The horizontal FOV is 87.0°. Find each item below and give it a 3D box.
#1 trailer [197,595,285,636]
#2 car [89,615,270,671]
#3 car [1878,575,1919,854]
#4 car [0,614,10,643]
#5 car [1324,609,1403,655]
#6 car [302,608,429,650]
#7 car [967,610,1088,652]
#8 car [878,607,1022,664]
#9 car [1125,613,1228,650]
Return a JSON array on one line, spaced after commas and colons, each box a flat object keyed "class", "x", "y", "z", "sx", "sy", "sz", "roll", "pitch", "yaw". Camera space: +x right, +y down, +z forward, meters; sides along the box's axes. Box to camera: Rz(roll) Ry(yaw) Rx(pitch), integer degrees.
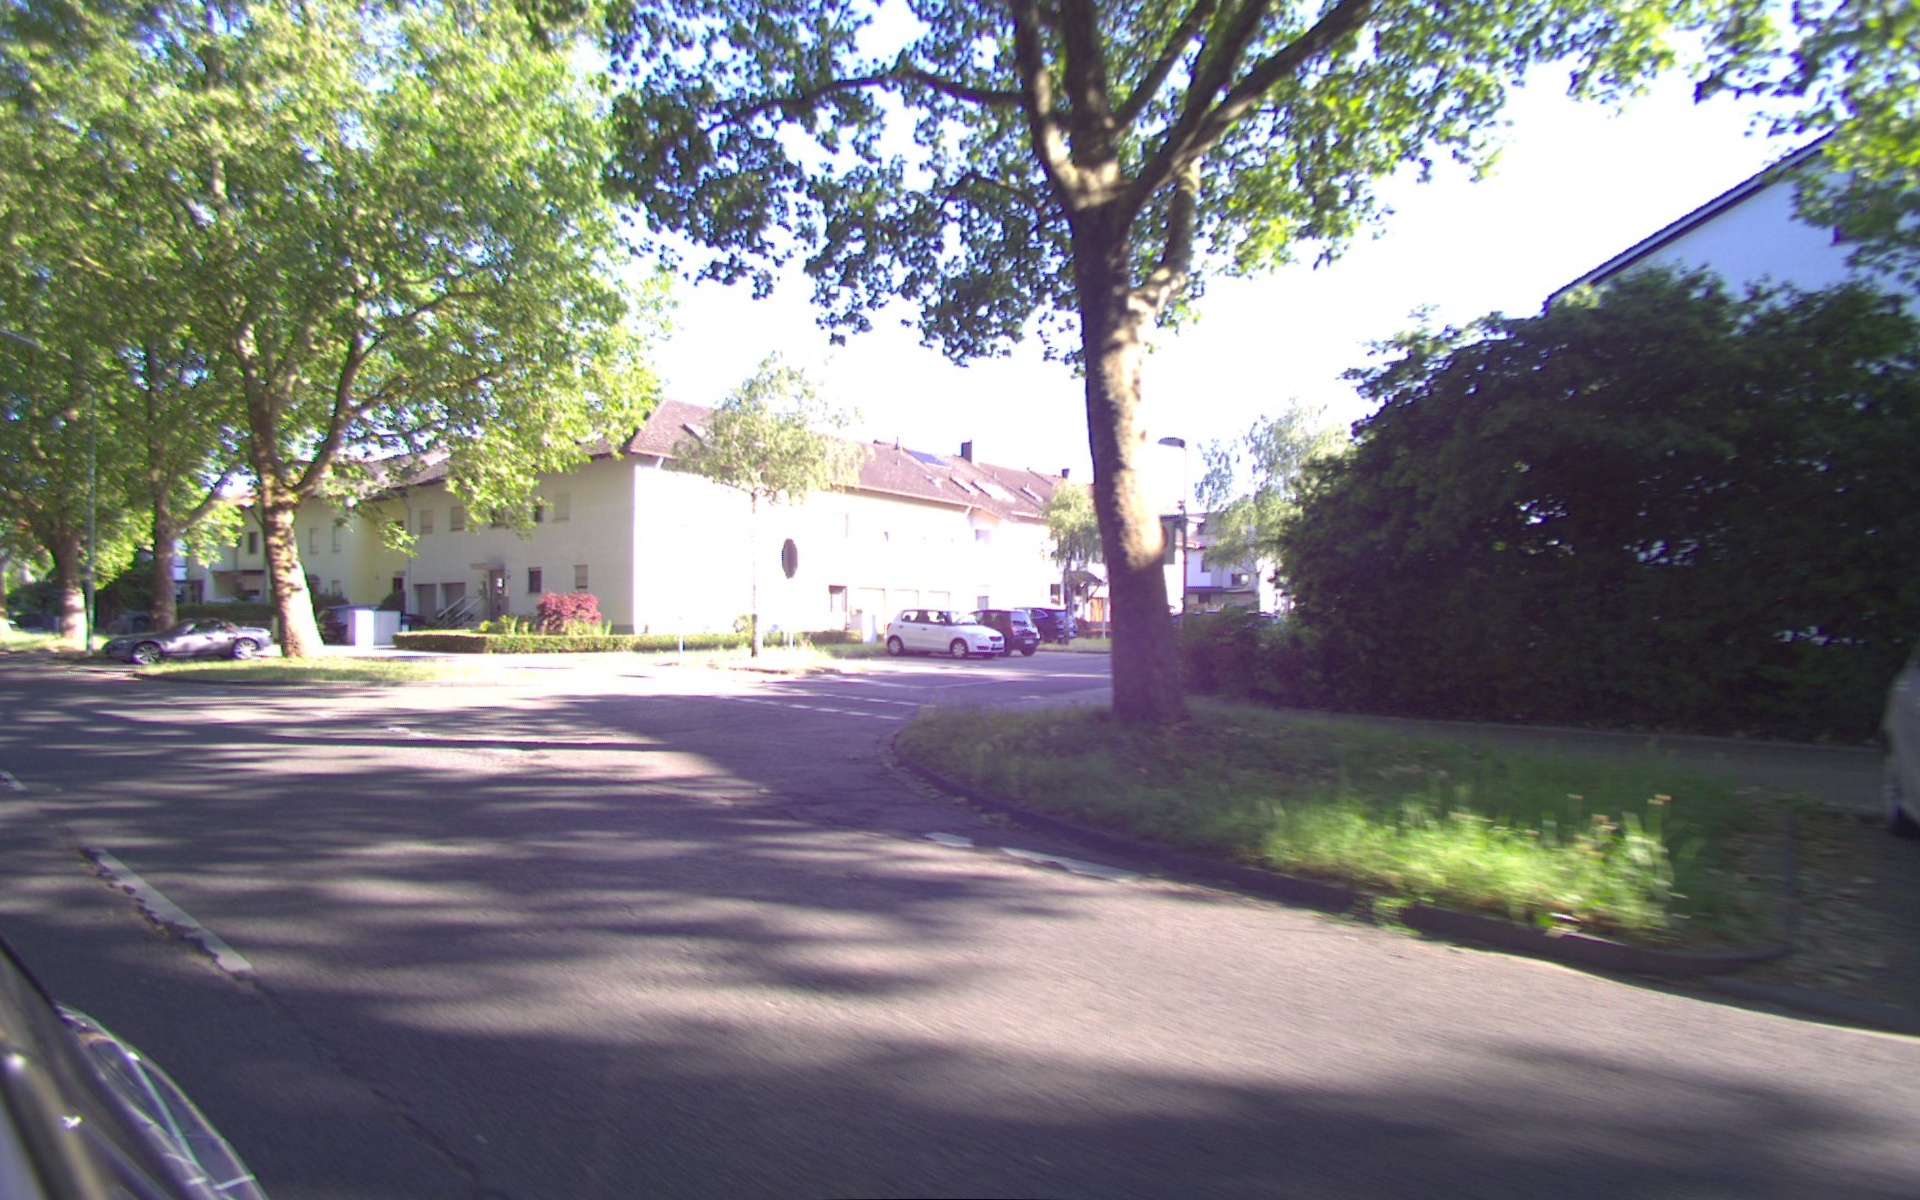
[{"class": "trailer", "x": -38.579, "y": 0.824, "z": 54.372, "sx": 1.640, "sy": 1.940, "sz": 3.423, "roll": -3, "pitch": 2, "yaw": 36}, {"class": "car", "x": -22.354, "y": 1.185, "z": 29.101, "sx": 1.787, "sy": 1.326, "sz": 3.790, "roll": -1, "pitch": 1, "yaw": 38}, {"class": "car", "x": 5.915, "y": 0.641, "z": 4.683, "sx": 1.996, "sy": 1.596, "sz": 4.145, "roll": -1, "pitch": -1, "yaw": 36}, {"class": "car", "x": -52.521, "y": 1.545, "z": 52.882, "sx": 1.814, "sy": 1.530, "sz": 3.952, "roll": -1, "pitch": -1, "yaw": 36}, {"class": "car", "x": 16.260, "y": 1.247, "z": 40.682, "sx": 1.902, "sy": 1.752, "sz": 3.948, "roll": -1, "pitch": -1, "yaw": 39}, {"class": "car", "x": -23.600, "y": 1.117, "z": 40.257, "sx": 1.899, "sy": 1.475, "sz": 3.948, "roll": 0, "pitch": 1, "yaw": 39}, {"class": "car", "x": 2.652, "y": 1.207, "z": 40.368, "sx": 4.455, "sy": 1.586, "sz": 1.976, "roll": -1, "pitch": -1, "yaw": 36}, {"class": "car", "x": -0.332, "y": 1.024, "z": 30.425, "sx": 3.993, "sy": 1.586, "sz": 1.975, "roll": -1, "pitch": -1, "yaw": 37}, {"class": "car", "x": 9.493, "y": 1.356, "z": 44.518, "sx": 3.992, "sy": 1.497, "sz": 1.976, "roll": 1, "pitch": 0, "yaw": 36}]
